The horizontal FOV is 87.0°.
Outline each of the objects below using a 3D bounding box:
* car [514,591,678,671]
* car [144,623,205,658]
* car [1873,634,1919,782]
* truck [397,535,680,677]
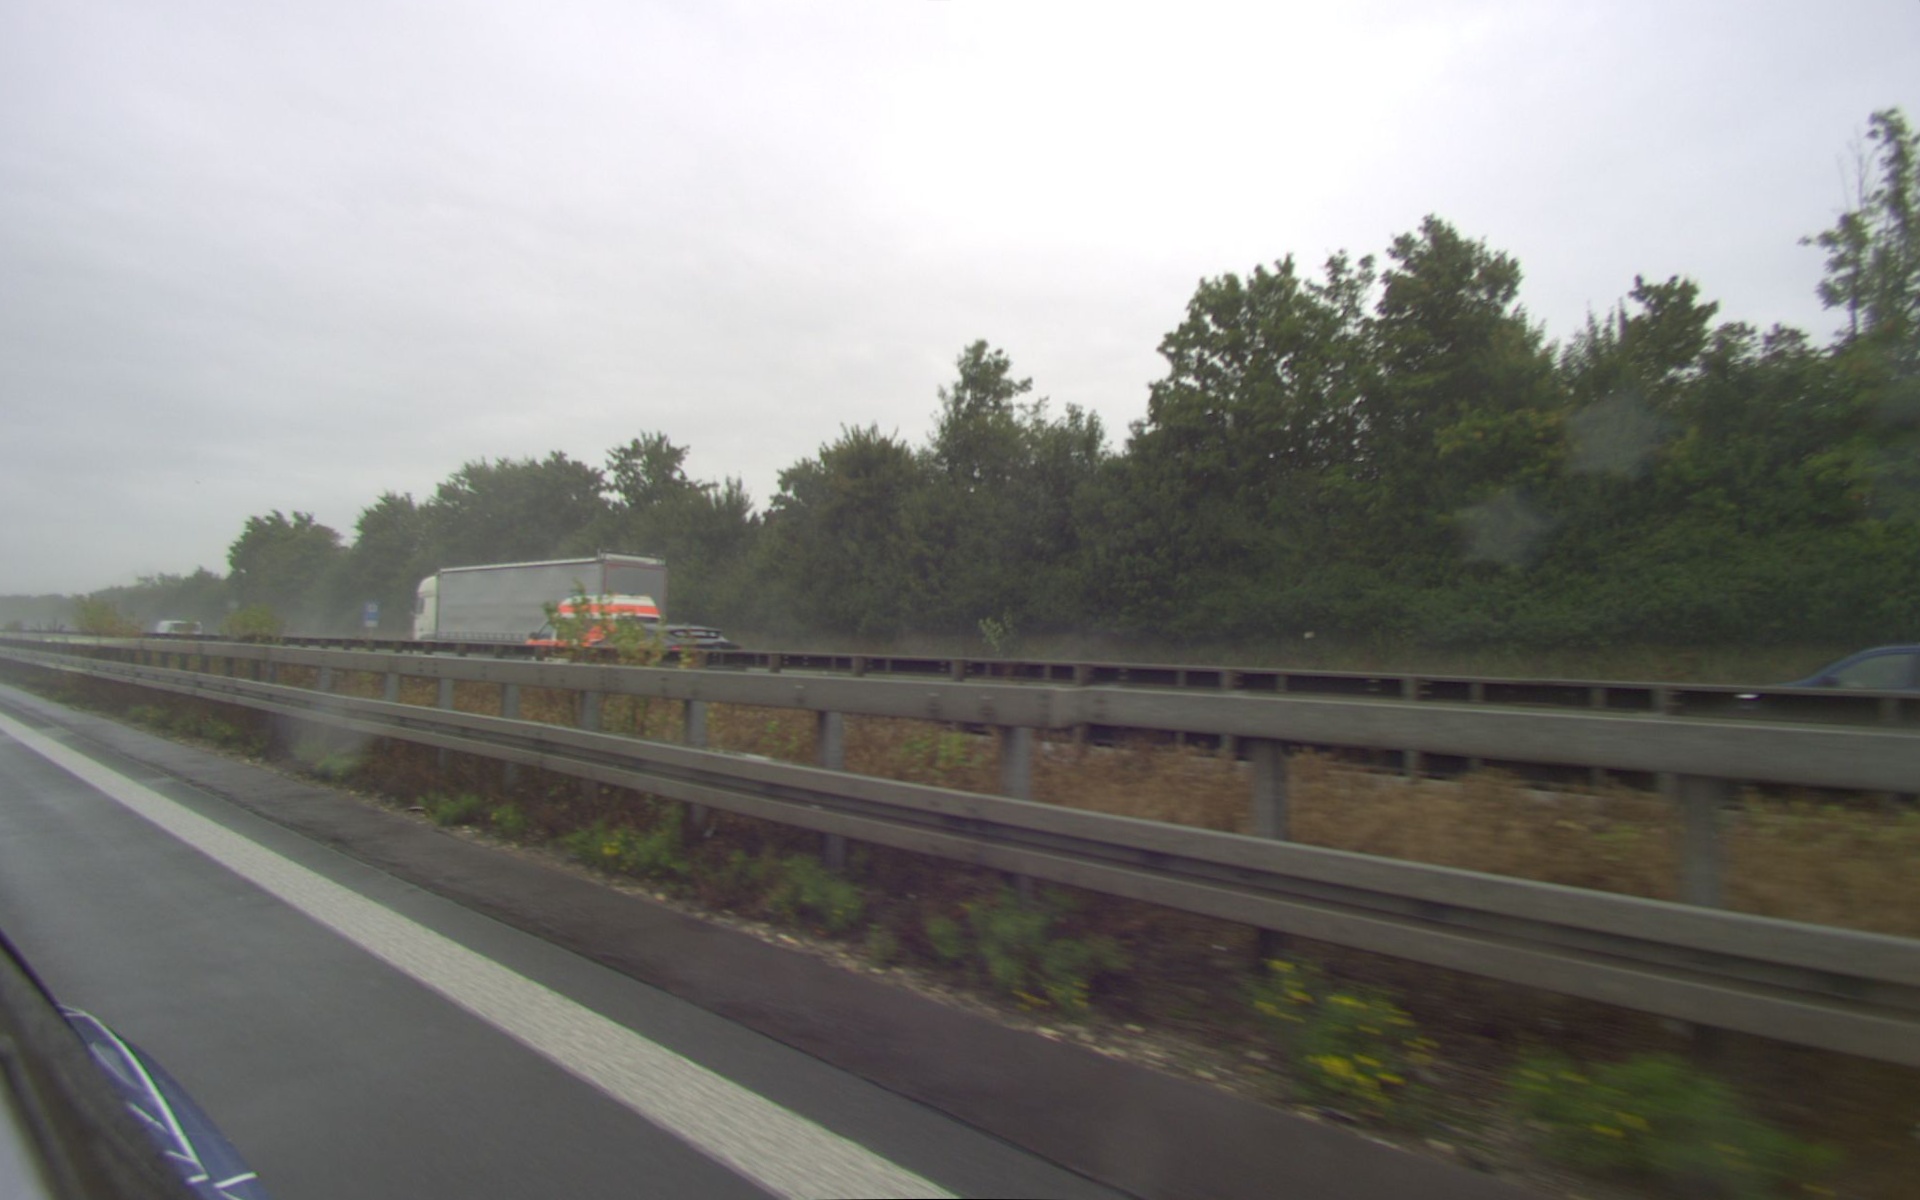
[{"bbox_3d":[-10.008,0.849,27.636,5.011,2.000,1.973,-2,-1,40],"label":"car"},{"bbox_3d":[-48.816,2.490,62.859,5.398,2.029,1.909,-2,-1,41],"label":"car"},{"bbox_3d":[14.004,1.352,12.446,3.997,1.829,1.609,-2,-1,41],"label":"car"},{"bbox_3d":[-17.413,0.438,40.311,17.087,4.710,2.935,-2,-1,41],"label":"truck"}]
